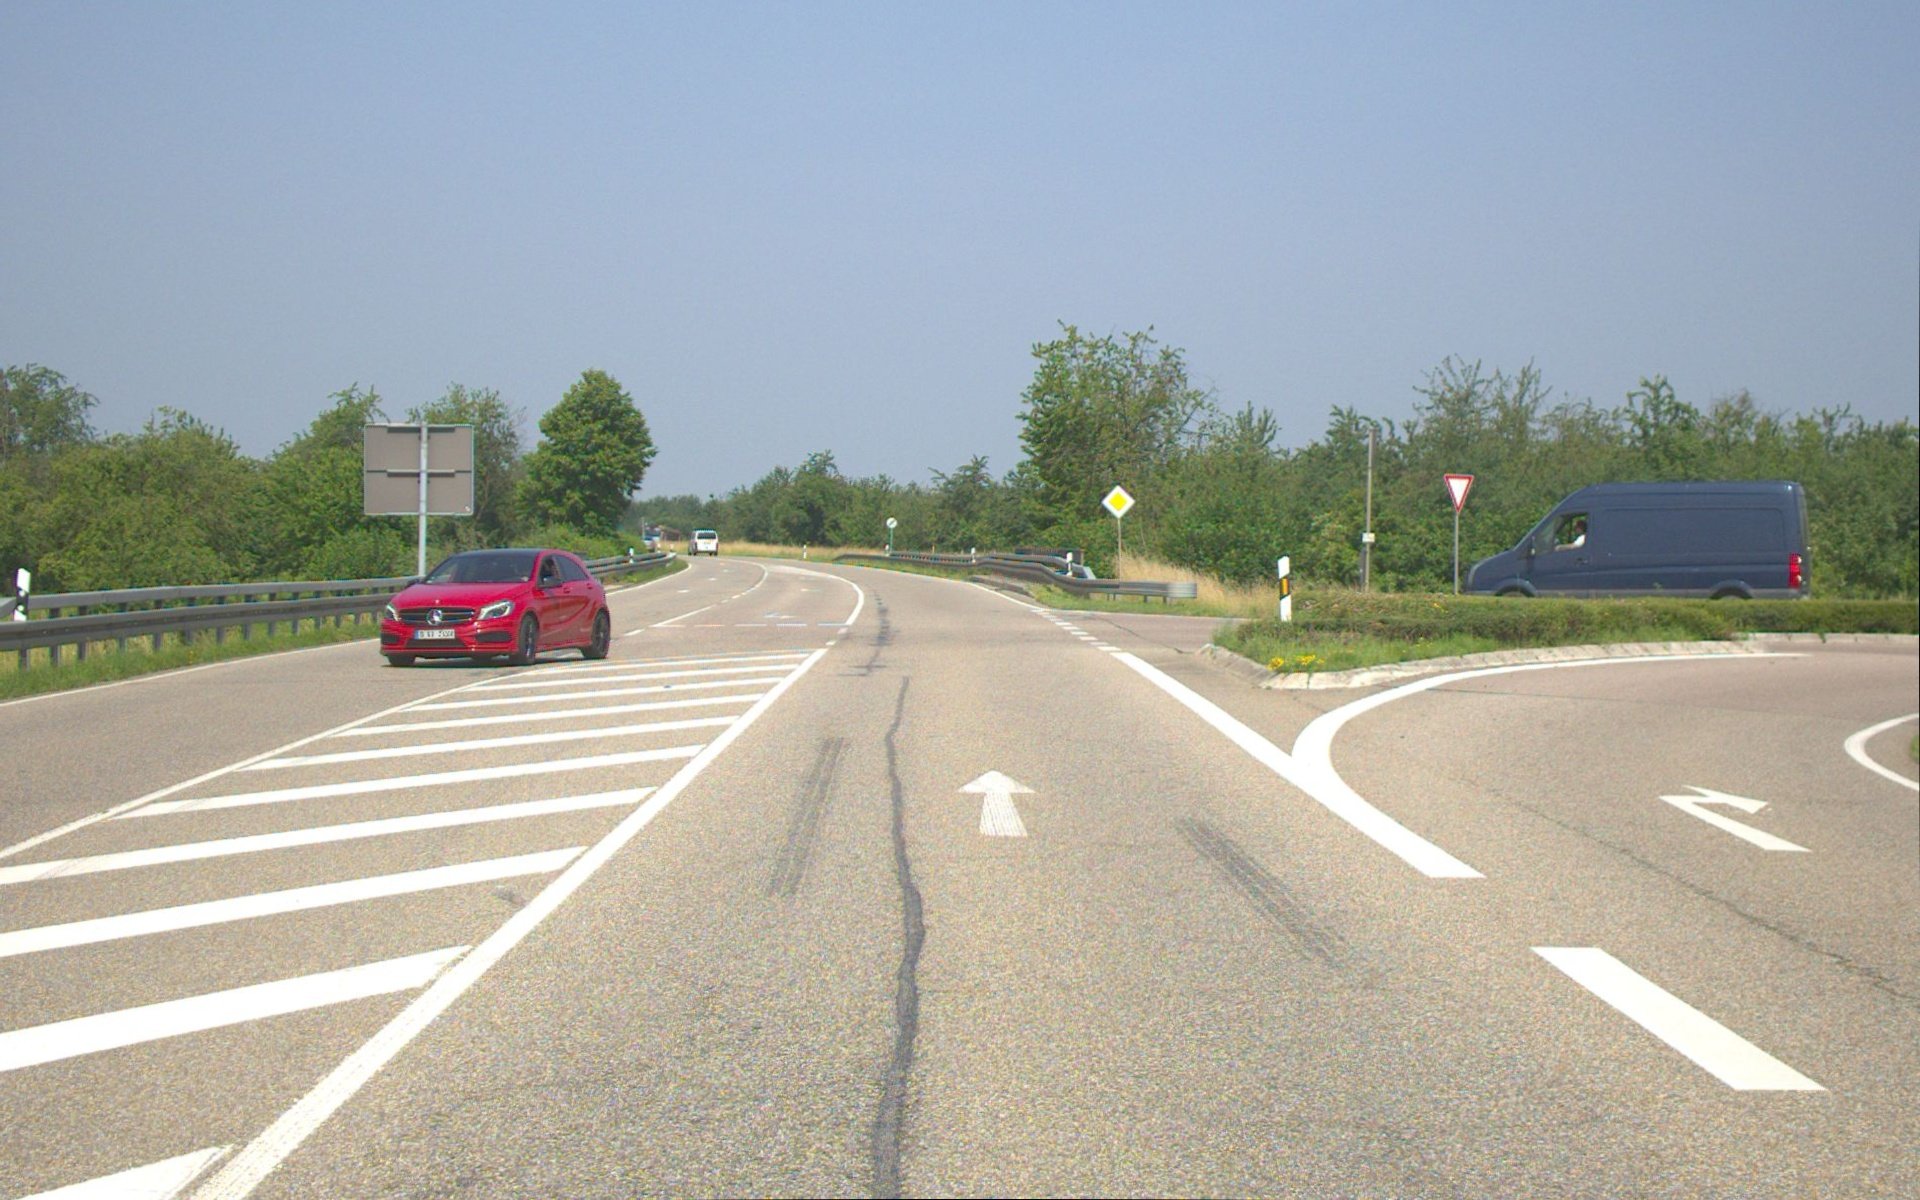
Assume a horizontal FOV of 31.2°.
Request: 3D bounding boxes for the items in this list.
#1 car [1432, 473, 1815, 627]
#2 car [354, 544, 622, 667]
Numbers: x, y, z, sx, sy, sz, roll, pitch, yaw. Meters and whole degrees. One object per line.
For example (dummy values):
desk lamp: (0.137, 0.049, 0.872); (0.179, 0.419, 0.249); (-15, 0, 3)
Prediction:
car: (11.456, -0.836, 59.318); (6.297, 2.566, 2.060); (0, 0, 17)
car: (-5.772, 0.035, 42.604); (1.816, 1.444, 4.492); (0, 1, 13)
